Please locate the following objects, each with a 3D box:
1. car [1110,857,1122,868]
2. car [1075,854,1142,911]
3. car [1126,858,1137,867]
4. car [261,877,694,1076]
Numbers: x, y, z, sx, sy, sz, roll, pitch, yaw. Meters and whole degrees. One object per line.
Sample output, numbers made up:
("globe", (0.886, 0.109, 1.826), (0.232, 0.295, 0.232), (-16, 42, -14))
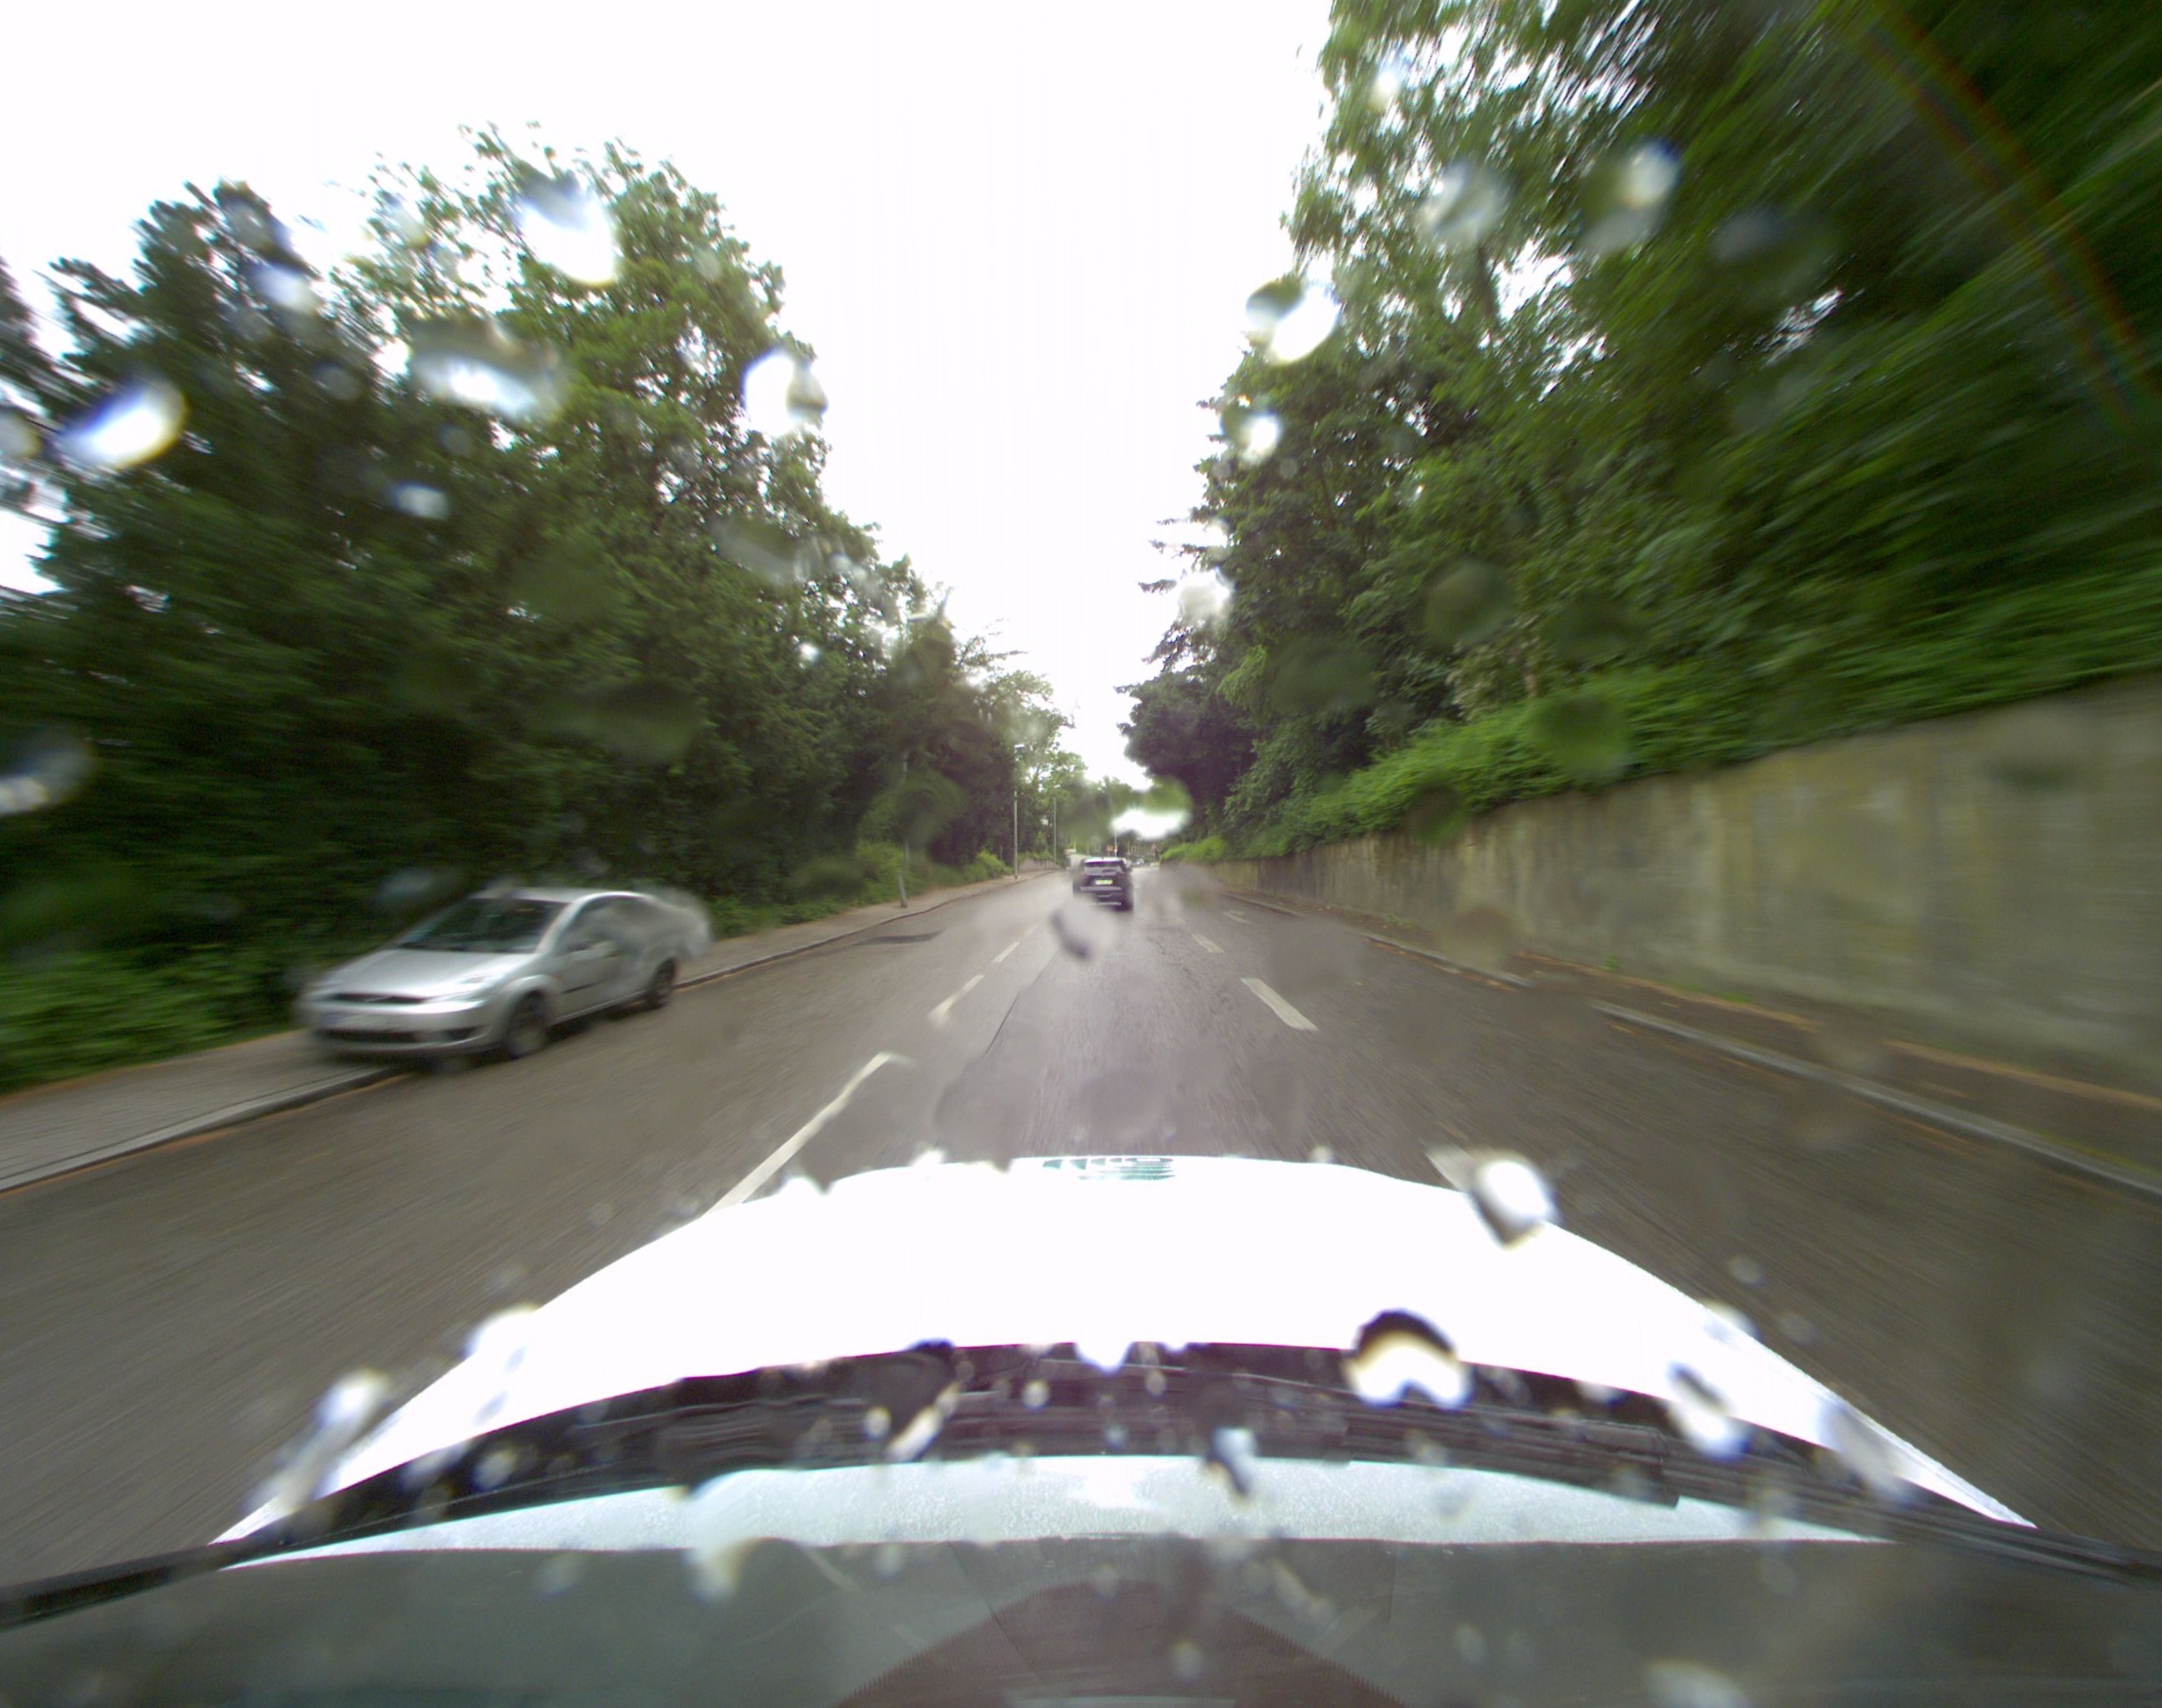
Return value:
("car", (5.515, 1.353, 127.177), (1.823, 1.711, 4.003), (-1, 0, 3))
("car", (0.843, 0.831, 25.634), (1.921, 1.613, 4.001), (-1, 0, 1))
("car", (8.465, 1.445, 136.064), (1.669, 1.496, 3.461), (-1, 0, 1))
("car", (-5.789, 1.043, 8.533), (1.621, 1.499, 3.926), (0, 0, -1))
